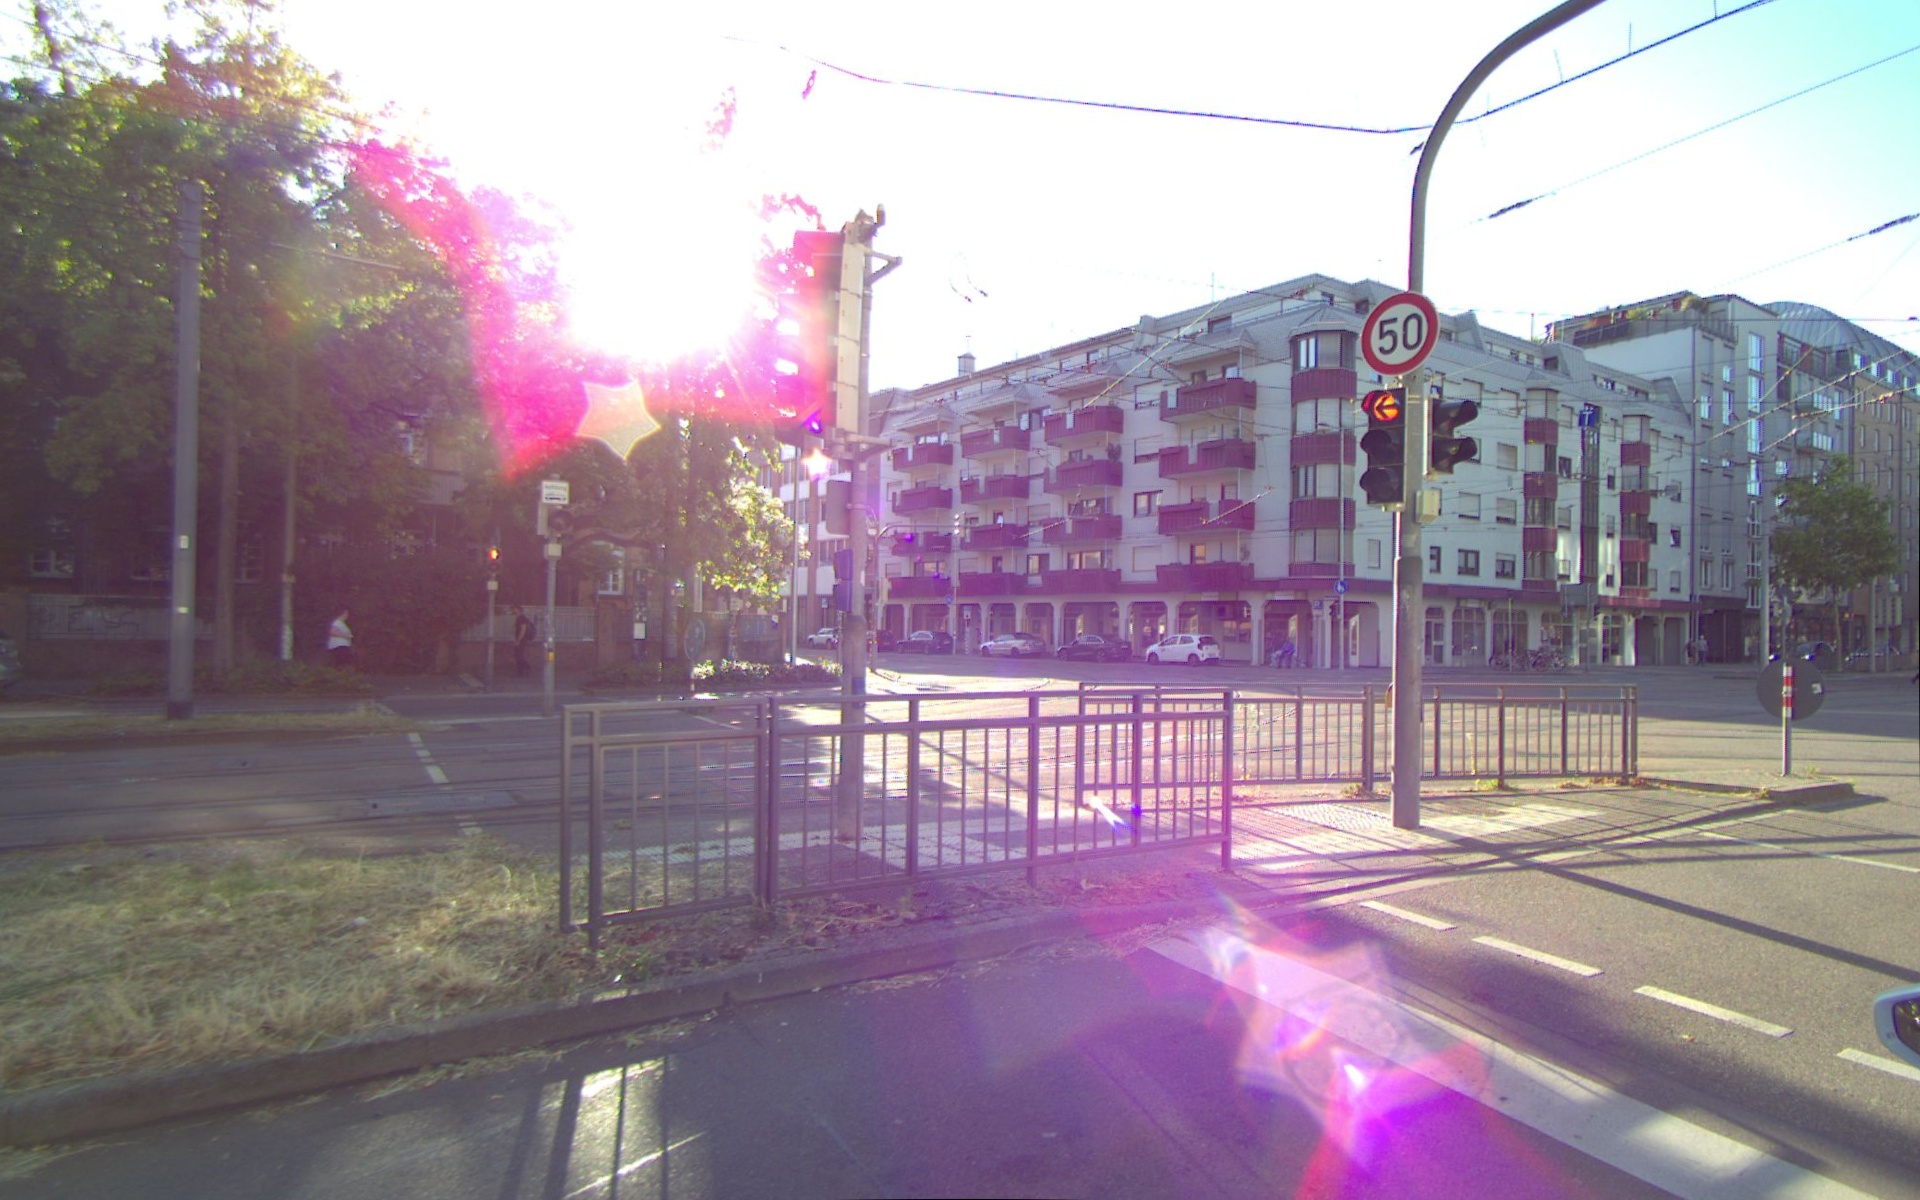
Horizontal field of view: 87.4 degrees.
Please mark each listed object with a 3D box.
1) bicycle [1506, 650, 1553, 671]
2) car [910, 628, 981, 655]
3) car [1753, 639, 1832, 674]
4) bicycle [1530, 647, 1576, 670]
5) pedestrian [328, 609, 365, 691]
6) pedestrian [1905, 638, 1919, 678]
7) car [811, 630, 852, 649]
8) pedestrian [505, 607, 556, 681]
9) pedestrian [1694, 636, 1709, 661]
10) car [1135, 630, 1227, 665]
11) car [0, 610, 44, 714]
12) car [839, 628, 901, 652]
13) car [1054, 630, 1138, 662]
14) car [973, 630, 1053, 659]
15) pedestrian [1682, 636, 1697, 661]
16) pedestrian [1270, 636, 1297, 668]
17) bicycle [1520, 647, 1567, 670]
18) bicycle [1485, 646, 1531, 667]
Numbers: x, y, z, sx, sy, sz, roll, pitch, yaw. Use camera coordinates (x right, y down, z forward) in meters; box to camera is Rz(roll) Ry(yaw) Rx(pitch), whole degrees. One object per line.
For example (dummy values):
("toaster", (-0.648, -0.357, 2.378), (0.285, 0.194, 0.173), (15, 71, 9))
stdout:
("bicycle", (25.917, 2.753, 45.746), (0.546, 0.865, 1.835), (1, -2, -29))
("car", (-0.941, 2.525, 62.039), (1.983, 1.576, 4.533), (2, -2, -39))
("car", (42.434, 2.829, 51.181), (4.214, 1.694, 1.944), (1, -2, -33))
("bicycle", (27.537, 2.716, 46.664), (0.547, 0.998, 1.832), (2, -2, -33))
("pedestrian", (-13.064, 1.058, 21.395), (0.625, 1.687, 0.564), (1, 1, -34))
("pedestrian", (37.406, 2.250, 38.866), (0.685, 1.564, 1.042), (1, -2, -27))
("car", (-9.230, 2.826, 72.012), (1.448, 1.351, 3.148), (2, -2, -38))
("pedestrian", (-10.582, 1.067, 24.749), (1.009, 1.775, 0.729), (1, -2, -34))
("pedestrian", (45.030, 2.958, 60.996), (0.582, 1.514, 0.531), (1, -2, -35))
("car", (10.496, 2.222, 47.917), (1.983, 1.576, 3.955), (2, -2, -39))
("car", (-17.895, 0.994, 16.401), (4.057, 1.641, 2.068), (2, 1, -35))
("car", (-6.148, 2.720, 68.305), (1.983, 1.576, 4.533), (2, -2, -39))
("car", (6.976, 2.344, 51.960), (1.983, 1.576, 4.077), (2, -2, -39))
("car", (2.952, 2.496, 56.775), (1.983, 1.576, 4.533), (2, -2, -39))
("pedestrian", (44.643, 2.952, 61.469), (0.582, 1.514, 0.531), (1, -2, -35))
("pedestrian", (14.471, 2.311, 44.905), (0.830, 1.402, 0.849), (2, -2, -42))
("bicycle", (26.969, 2.683, 46.445), (0.547, 0.998, 1.832), (2, -2, -33))
("bicycle", (25.008, 2.575, 45.880), (0.546, 0.865, 1.835), (1, -2, -29))
